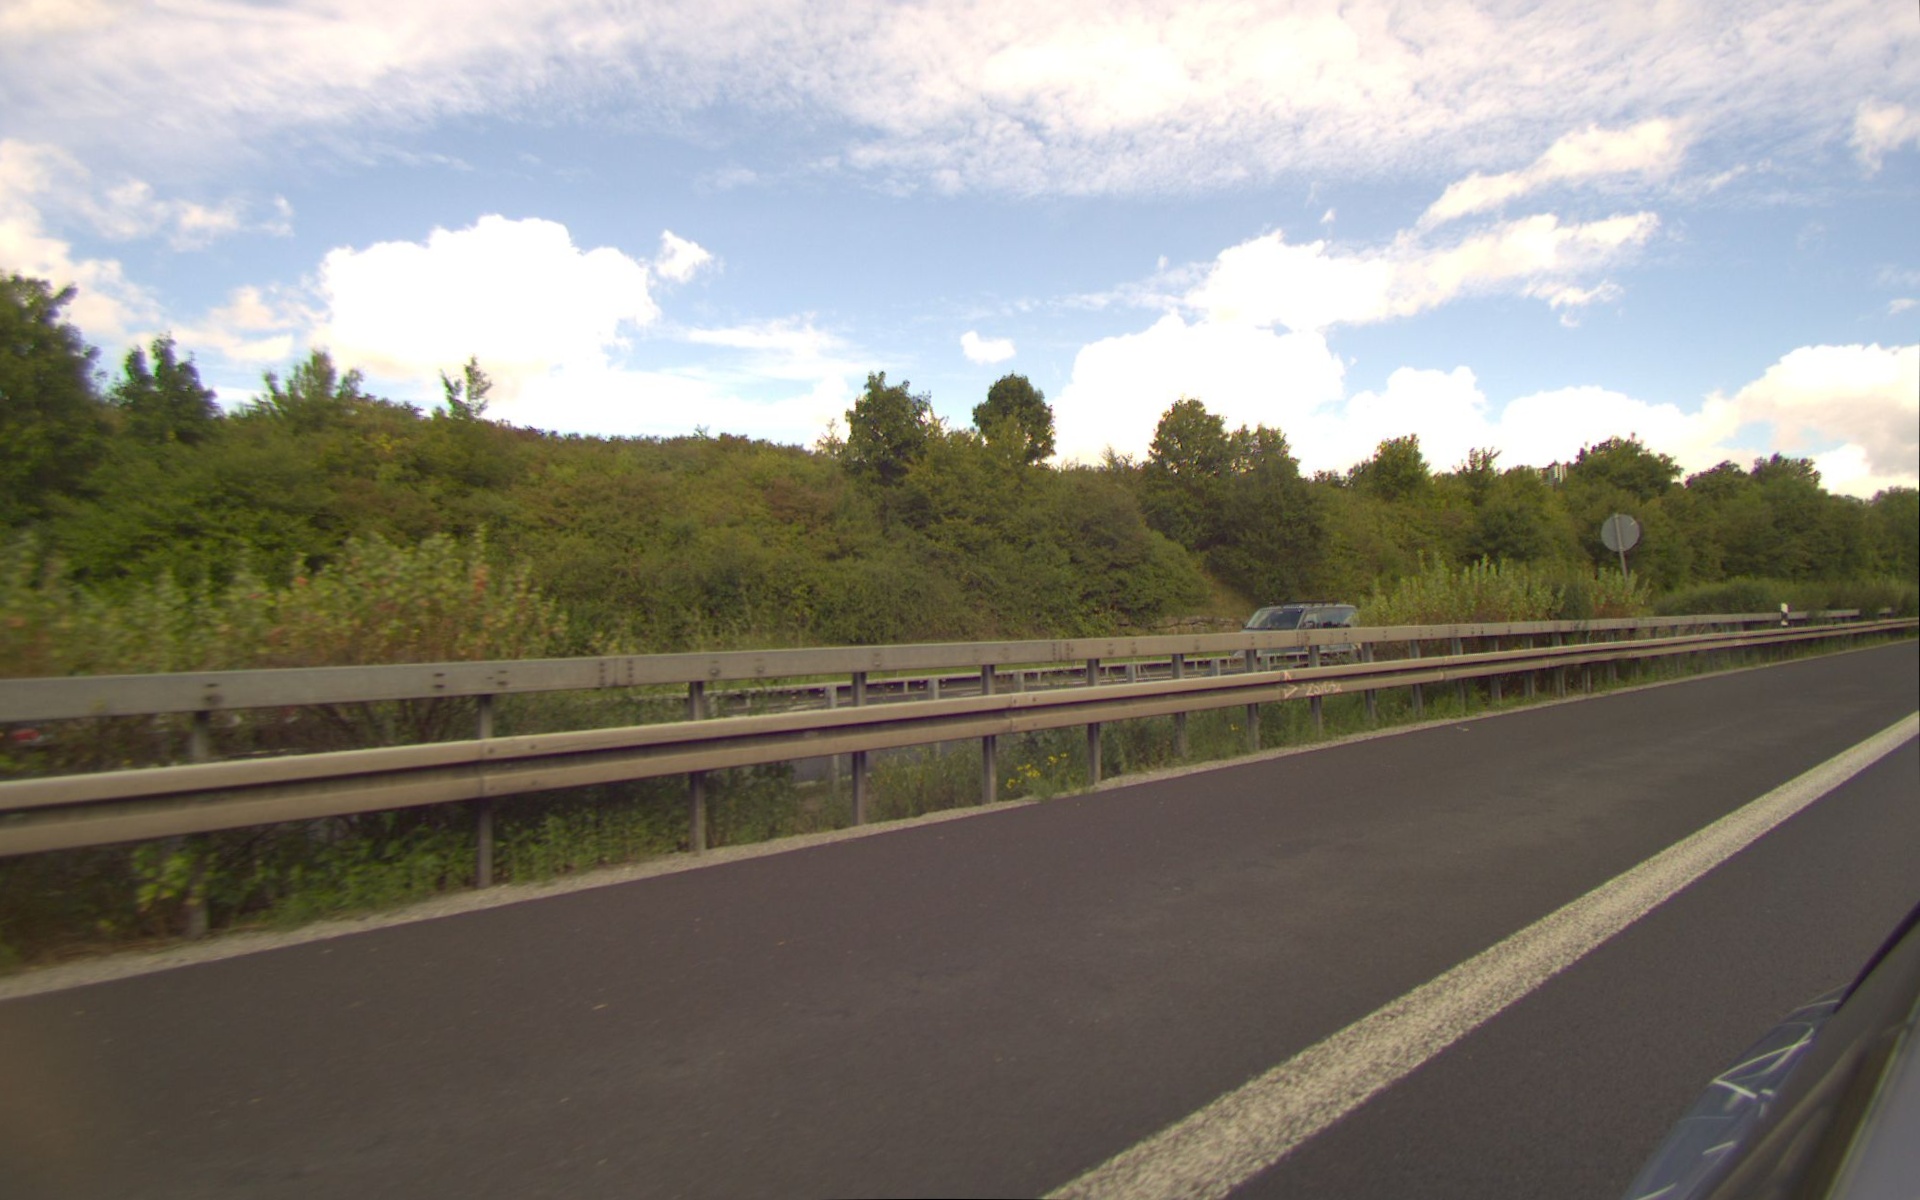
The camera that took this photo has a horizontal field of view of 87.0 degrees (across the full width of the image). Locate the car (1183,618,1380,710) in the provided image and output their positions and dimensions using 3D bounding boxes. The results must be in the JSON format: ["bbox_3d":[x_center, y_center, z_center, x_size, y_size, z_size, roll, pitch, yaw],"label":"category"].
[{"bbox_3d":[6.518,1.187,20.320,4.267,1.591,1.787,0,0,-40],"label":"car"}]

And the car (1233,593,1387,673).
[{"bbox_3d":[9.985,0.858,28.703,4.824,2.039,1.997,-1,0,-41],"label":"car"}]

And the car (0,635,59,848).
[{"bbox_3d":[-9.256,1.102,6.920,4.596,1.538,1.786,0,0,-42],"label":"car"}]
